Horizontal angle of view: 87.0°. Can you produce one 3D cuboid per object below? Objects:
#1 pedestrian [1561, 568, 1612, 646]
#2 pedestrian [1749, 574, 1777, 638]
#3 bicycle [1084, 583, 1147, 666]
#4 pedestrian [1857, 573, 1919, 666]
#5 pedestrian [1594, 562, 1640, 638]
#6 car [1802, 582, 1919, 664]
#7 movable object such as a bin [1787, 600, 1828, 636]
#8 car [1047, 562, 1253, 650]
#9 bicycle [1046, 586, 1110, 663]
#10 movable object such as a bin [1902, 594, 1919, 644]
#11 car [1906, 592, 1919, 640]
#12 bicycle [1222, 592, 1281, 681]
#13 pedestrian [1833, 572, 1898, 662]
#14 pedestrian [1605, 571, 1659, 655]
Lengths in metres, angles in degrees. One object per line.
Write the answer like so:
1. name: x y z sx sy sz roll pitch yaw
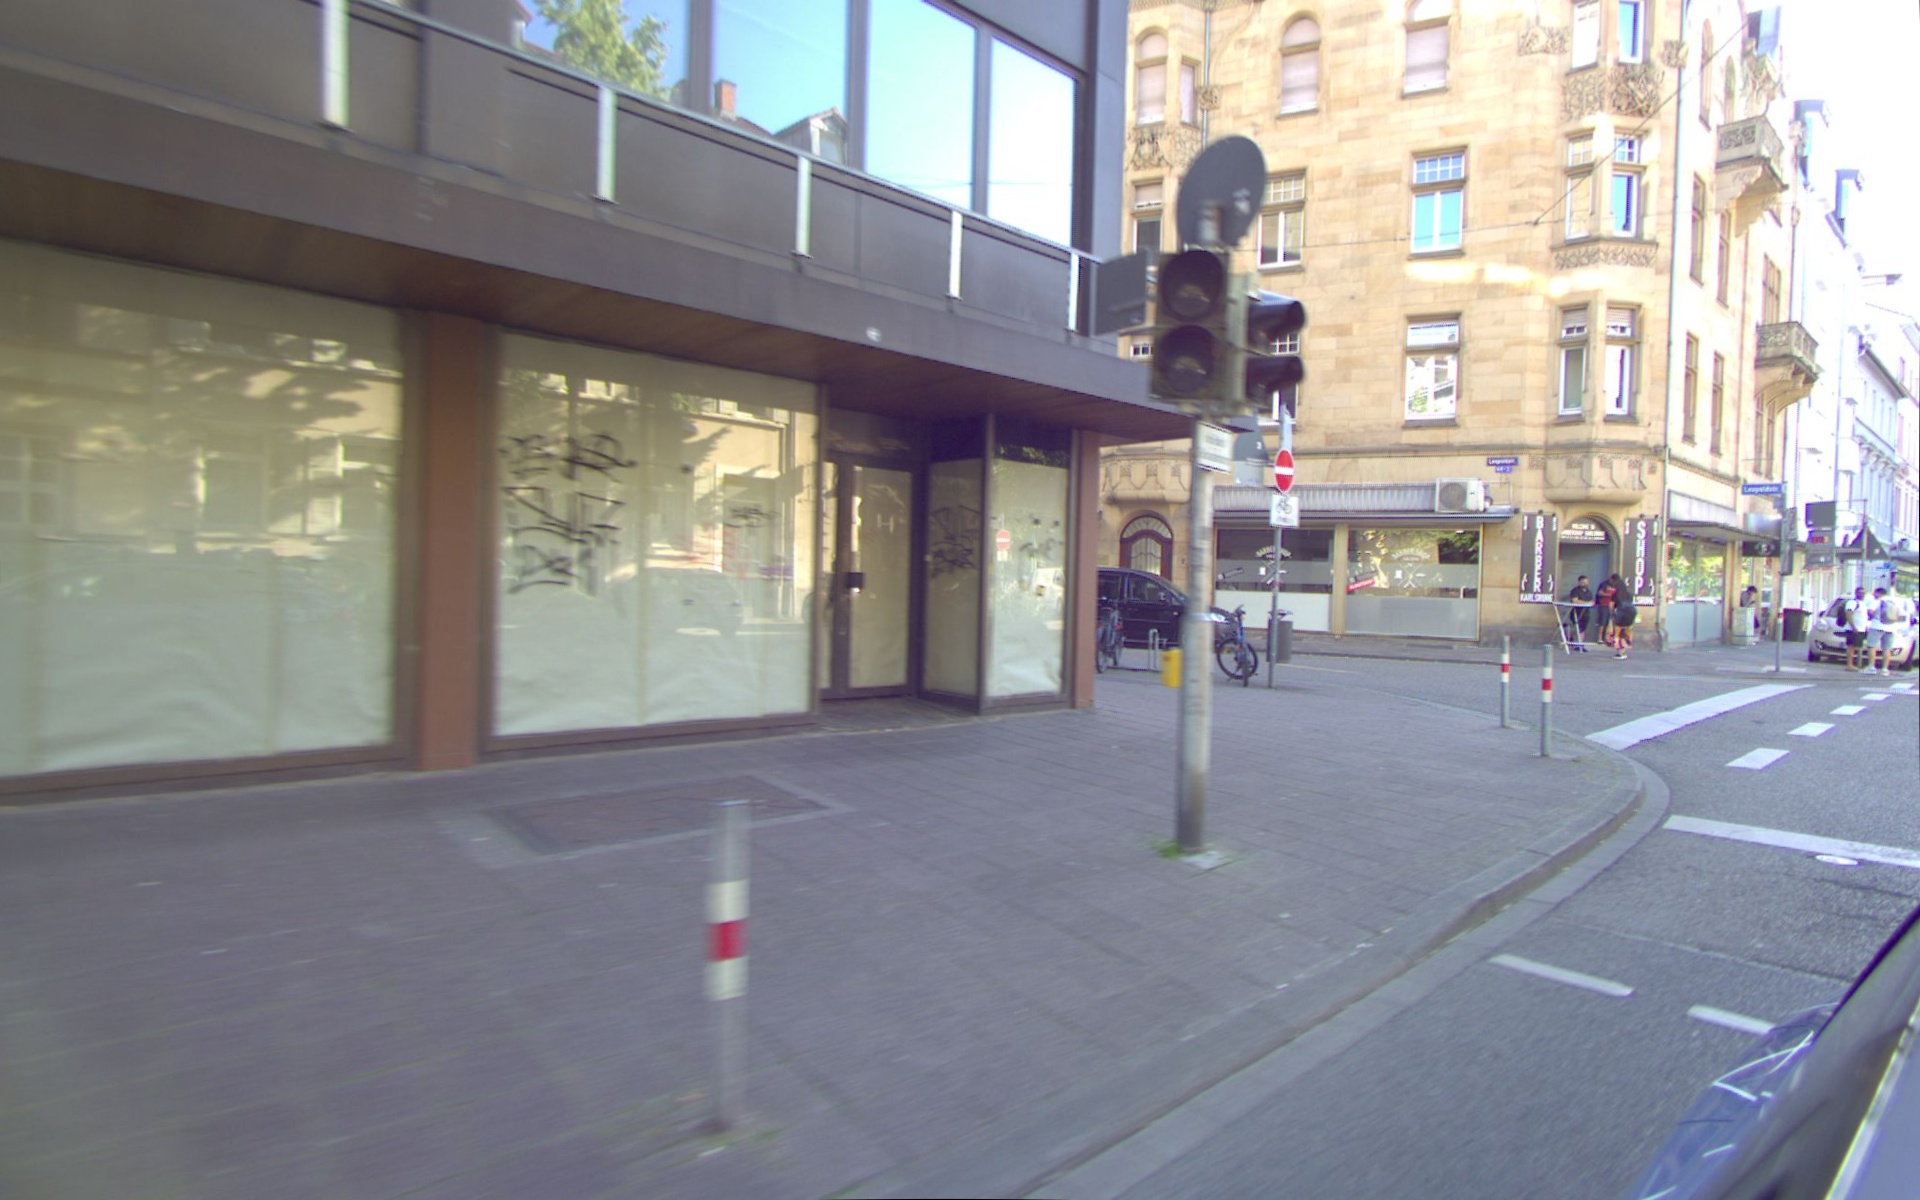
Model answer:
1. pedestrian: 14.050 0.148 22.719 0.701 1.713 0.621 1 1 -14
2. pedestrian: 22.853 0.164 28.798 0.534 1.764 0.588 2 1 44
3. bicycle: 2.451 0.395 15.757 0.566 1.176 2.004 2 -2 20
4. pedestrian: 18.310 0.369 19.785 0.876 1.740 0.697 2 3 -17
5. pedestrian: 15.030 0.005 23.140 0.701 1.713 0.500 1 1 -14
6. car: 21.079 0.482 23.245 4.055 1.593 1.978 0 4 -41
7. movable object such as a bin: 27.147 0.576 32.421 0.650 1.061 0.727 3 3 -31
8. car: 4.330 0.074 23.083 4.273 1.793 1.983 2 1 25
9. bicycle: 1.918 0.406 16.270 0.566 1.147 1.913 2 -2 20
10. movable object such as a bin: 28.819 0.596 29.886 1.385 1.438 1.149 1 5 -37
11. car: 33.685 0.596 34.219 3.930 1.593 1.998 0 4 -41
12. bicycle: 4.154 0.482 14.509 0.564 1.176 1.740 2 1 9
13. pedestrian: 18.351 0.329 20.525 0.692 1.740 0.689 4 3 26
14. pedestrian: 14.199 0.262 21.402 0.663 1.712 0.619 1 3 3
